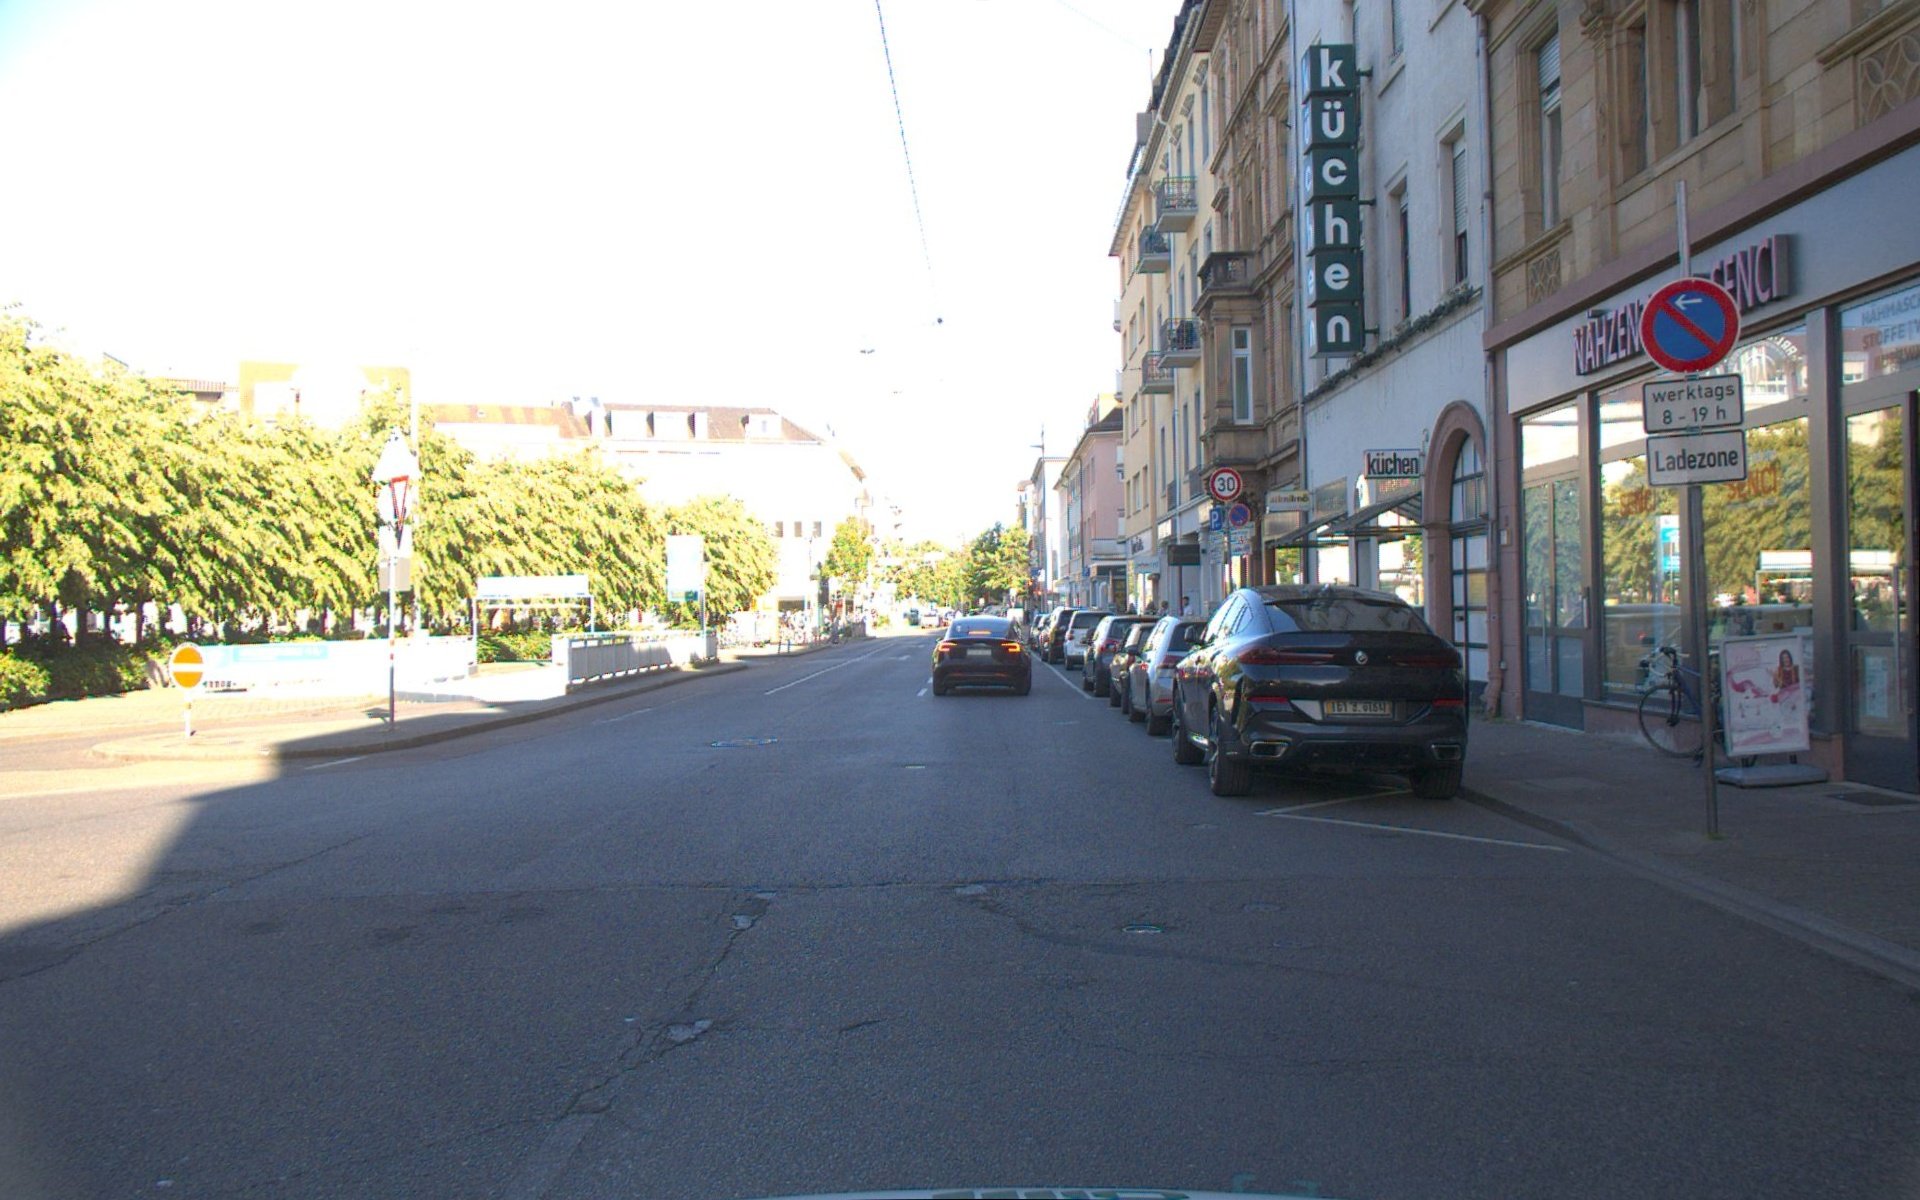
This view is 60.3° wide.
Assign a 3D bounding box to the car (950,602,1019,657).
[{"bbox_3d":[0.756,0.831,48.823,1.894,1.513,4.272,-1,0,2],"label":"car"}]

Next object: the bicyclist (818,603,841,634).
[{"bbox_3d":[-7.306,1.017,92.782,1.122,1.715,0.915,-1,0,4],"label":"bicyclist"}]

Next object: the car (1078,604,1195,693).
[{"bbox_3d":[3.326,0.876,31.829,1.801,1.573,4.228,0,0,0],"label":"car"}]

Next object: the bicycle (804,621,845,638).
[{"bbox_3d":[-7.598,1.663,92.800,2.196,0.898,0.924,-1,0,4],"label":"bicycle"}]

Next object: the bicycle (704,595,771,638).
[{"bbox_3d":[-10.681,0.799,79.470,3.054,2.049,0.909,-1,0,10],"label":"bicycle"}]

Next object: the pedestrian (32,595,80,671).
[{"bbox_3d":[-25.885,0.942,47.374,0.717,2.145,0.967,-1,0,23],"label":"pedestrian"}]

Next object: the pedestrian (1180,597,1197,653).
[{"bbox_3d":[6.885,0.744,49.831,0.460,1.664,0.513,-1,0,5],"label":"pedestrian"}]

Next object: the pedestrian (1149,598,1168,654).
[{"bbox_3d":[5.931,0.771,49.342,0.460,1.664,0.513,-1,0,17],"label":"pedestrian"}]

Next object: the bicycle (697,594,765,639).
[{"bbox_3d":[-10.860,0.782,78.426,3.054,2.049,0.909,-1,0,10],"label":"bicycle"}]

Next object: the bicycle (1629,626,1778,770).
[{"bbox_3d":[6.377,0.801,14.277,0.350,1.104,1.941,-3,0,0],"label":"bicycle"}]

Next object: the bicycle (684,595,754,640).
[{"bbox_3d":[-11.136,0.806,76.481,3.054,2.049,0.909,-1,0,10],"label":"bicycle"}]

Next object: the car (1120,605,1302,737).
[{"bbox_3d":[3.167,0.844,21.614,1.801,1.513,4.185,0,0,1],"label":"car"}]

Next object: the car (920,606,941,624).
[{"bbox_3d":[-2.930,1.503,165.942,1.952,1.803,4.001,0,1,2],"label":"car"}]

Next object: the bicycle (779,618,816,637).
[{"bbox_3d":[-8.949,1.511,91.088,1.971,1.040,0.762,-1,0,-3],"label":"bicycle"}]

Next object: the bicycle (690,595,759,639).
[{"bbox_3d":[-11.010,0.794,77.436,3.054,2.049,0.909,-1,0,10],"label":"bicycle"}]

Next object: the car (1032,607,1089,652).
[{"bbox_3d":[3.429,1.015,56.961,1.755,1.485,4.084,0,-1,1],"label":"car"}]

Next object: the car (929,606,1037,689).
[{"bbox_3d":[0.409,0.900,32.260,1.954,1.506,4.494,0,-1,0],"label":"car"}]

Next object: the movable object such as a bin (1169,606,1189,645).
[{"bbox_3d":[6.258,0.732,47.312,0.446,1.070,0.499,-3,0,-1],"label":"movable object such as a bin"}]

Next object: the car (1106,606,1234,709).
[{"bbox_3d":[3.247,0.850,26.155,1.575,1.474,3.831,0,0,1],"label":"car"}]

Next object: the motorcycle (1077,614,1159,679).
[{"bbox_3d":[3.457,0.992,36.142,0.645,1.351,2.029,-1,0,45],"label":"motorcycle"}]

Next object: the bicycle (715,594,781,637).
[{"bbox_3d":[-10.443,0.762,81.589,3.054,2.049,0.909,-1,0,10],"label":"bicycle"}]

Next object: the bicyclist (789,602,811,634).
[{"bbox_3d":[-8.810,0.974,91.102,1.123,1.715,0.819,-1,0,-3],"label":"bicyclist"}]

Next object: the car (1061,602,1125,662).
[{"bbox_3d":[3.577,0.842,44.857,1.580,1.573,2.856,0,0,2],"label":"car"}]

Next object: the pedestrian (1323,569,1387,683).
[{"bbox_3d":[6.069,0.394,25.462,0.784,1.704,0.590,-3,0,3],"label":"pedestrian"}]

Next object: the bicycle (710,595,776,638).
[{"bbox_3d":[-10.568,0.793,80.552,3.054,2.049,0.909,-1,0,10],"label":"bicycle"}]

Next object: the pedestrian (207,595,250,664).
[{"bbox_3d":[-22.939,0.929,51.876,0.717,2.145,0.967,-1,0,23],"label":"pedestrian"}]

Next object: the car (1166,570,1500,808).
[{"bbox_3d":[3.058,0.644,14.636,1.933,1.755,4.824,0,0,1],"label":"car"}]

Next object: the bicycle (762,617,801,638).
[{"bbox_3d":[-9.533,1.470,88.286,1.971,1.040,0.887,-1,0,-3],"label":"bicycle"}]

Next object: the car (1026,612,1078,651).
[{"bbox_3d":[3.507,1.211,63.620,1.756,1.485,3.867,0,-1,0],"label":"car"}]

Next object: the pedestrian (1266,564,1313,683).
[{"bbox_3d":[5.088,0.362,25.528,0.607,1.797,0.519,-1,0,3],"label":"pedestrian"}]

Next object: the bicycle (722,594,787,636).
[{"bbox_3d":[-10.275,0.738,82.631,3.054,2.049,0.909,-1,0,10],"label":"bicycle"}]

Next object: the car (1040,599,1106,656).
[{"bbox_3d":[3.433,0.844,50.685,1.681,1.664,4.083,0,-1,-1],"label":"car"}]

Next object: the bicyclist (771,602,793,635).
[{"bbox_3d":[-9.500,0.986,88.296,1.123,1.715,0.918,-1,0,-3],"label":"bicyclist"}]

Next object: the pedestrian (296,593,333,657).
[{"bbox_3d":[-22.046,0.856,56.497,0.717,2.145,0.967,-1,0,23],"label":"pedestrian"}]

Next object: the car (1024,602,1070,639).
[{"bbox_3d":[3.550,0.862,67.930,1.755,1.485,3.868,0,-1,1],"label":"car"}]
